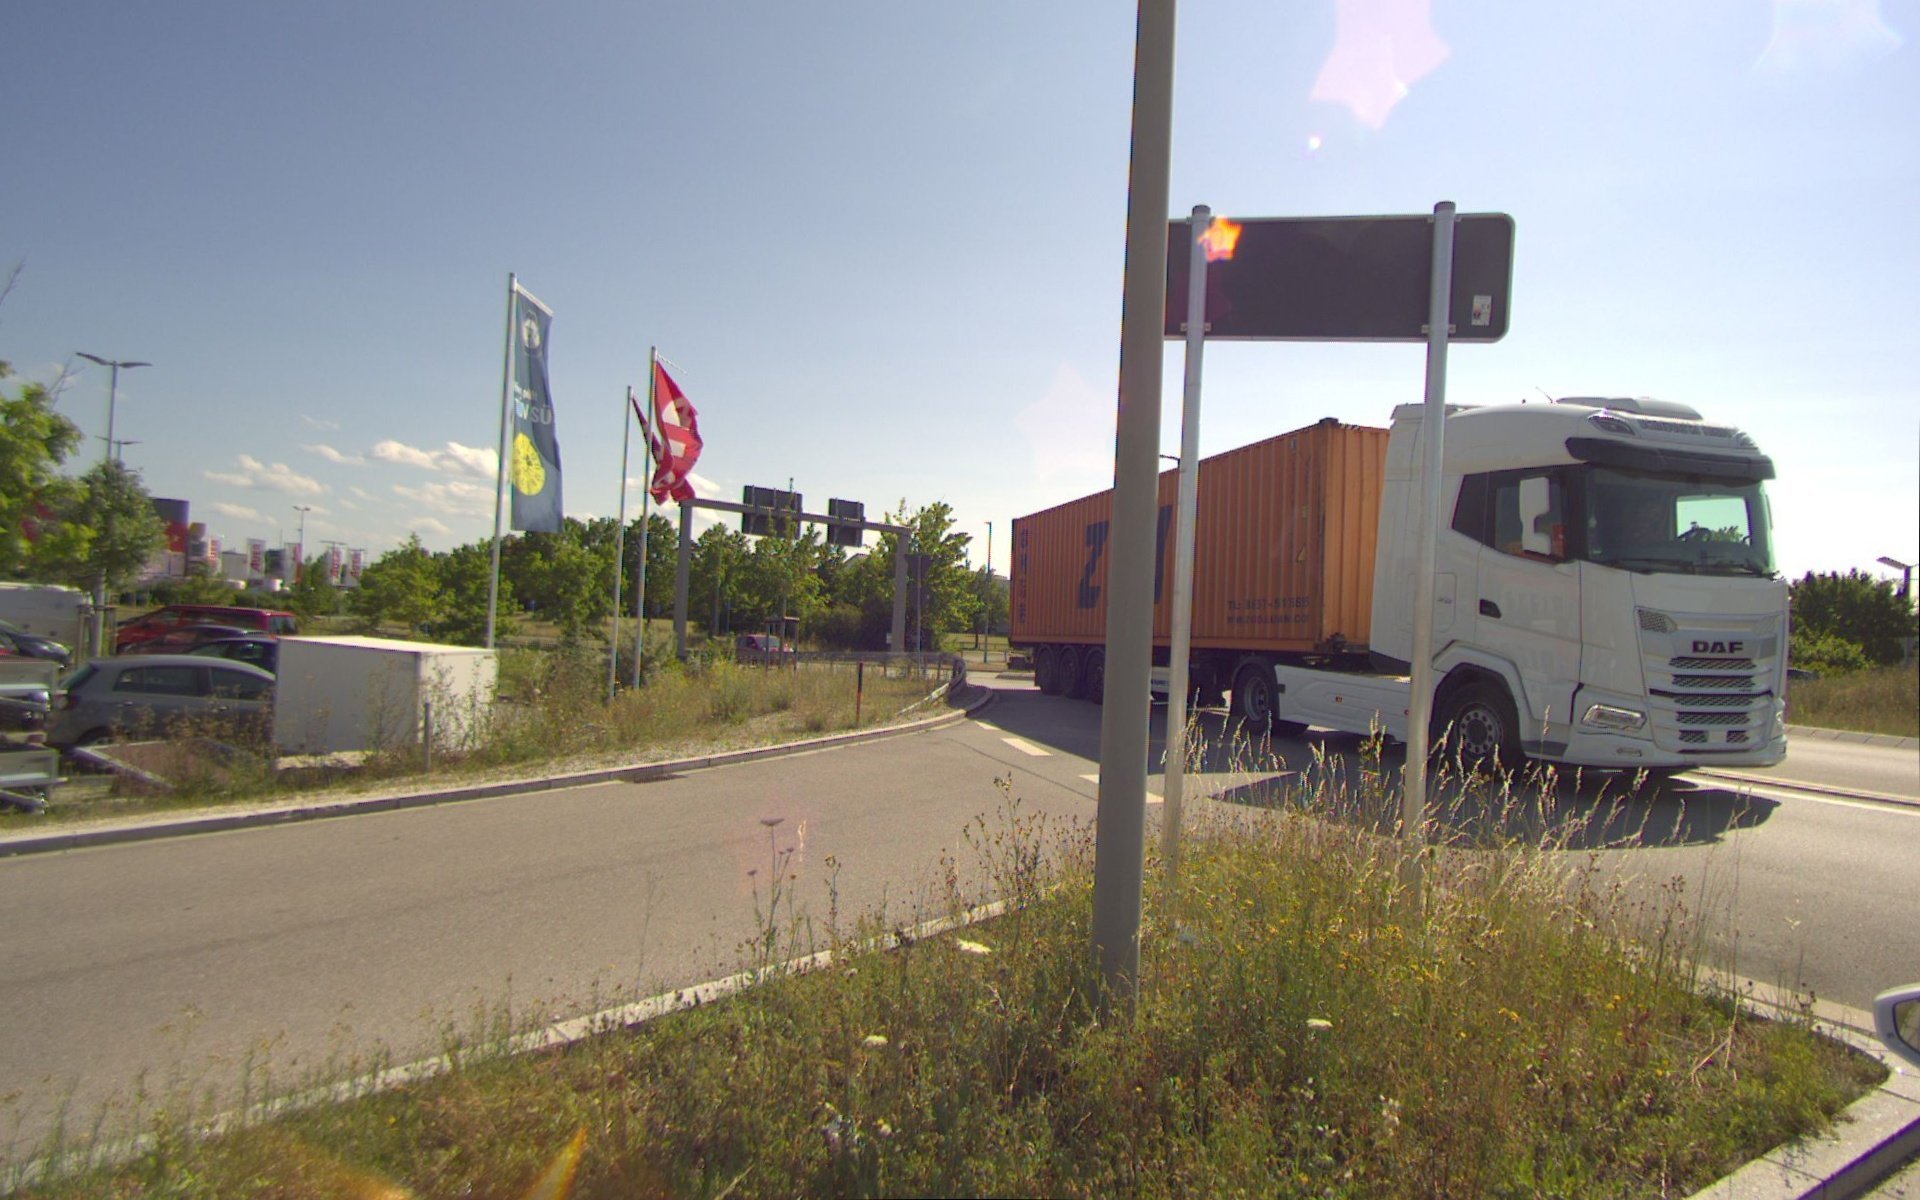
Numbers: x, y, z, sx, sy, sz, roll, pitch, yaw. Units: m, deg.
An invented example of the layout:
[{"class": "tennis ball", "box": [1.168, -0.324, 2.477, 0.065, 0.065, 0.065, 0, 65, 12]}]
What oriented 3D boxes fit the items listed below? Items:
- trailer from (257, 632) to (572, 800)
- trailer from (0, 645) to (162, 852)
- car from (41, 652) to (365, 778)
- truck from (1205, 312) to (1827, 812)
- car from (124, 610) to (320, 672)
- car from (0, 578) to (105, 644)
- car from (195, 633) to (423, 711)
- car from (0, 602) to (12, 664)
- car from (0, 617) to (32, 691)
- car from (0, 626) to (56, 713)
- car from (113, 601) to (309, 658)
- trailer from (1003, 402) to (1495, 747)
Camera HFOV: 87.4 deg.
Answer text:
[{"class": "trailer", "box": [-7.555, 1.497, 13.984, 3.624, 1.795, 1.808, 4, 1, 19]}, {"class": "trailer", "box": [-10.666, 1.442, 10.581, 3.623, 1.795, 1.808, 2, 0, 19]}, {"class": "car", "box": [-11.331, 1.630, 15.248, 3.713, 1.572, 1.724, 3, 0, -40]}, {"class": "truck", "box": [5.684, -0.259, 11.807, 2.618, 4.161, 6.415, 2, -1, -15]}, {"class": "car", "box": [-20.303, 1.106, 27.780, 3.925, 1.483, 1.823, 3, 0, -6]}, {"class": "car", "box": [-30.639, 0.328, 32.597, 4.316, 2.040, 1.881, 3, 0, -41]}, {"class": "car", "box": [-14.971, 1.645, 23.315, 3.926, 1.483, 1.824, 4, -3, -6]}, {"class": "car", "box": [-25.349, 0.754, 23.782, 3.964, 1.483, 1.806, 3, 0, -37]}, {"class": "car", "box": [-22.060, 1.084, 20.795, 3.964, 1.483, 1.806, 3, 0, -37]}, {"class": "car", "box": [-18.060, 1.163, 17.051, 3.971, 1.483, 1.803, 3, -3, -42]}, {"class": "car", "box": [-22.575, 0.871, 30.420, 4.372, 1.483, 1.823, 3, 0, -6]}, {"class": "trailer", "box": [3.985, -0.215, 18.545, 2.519, 4.208, 12.320, 2, -1, -16]}]
